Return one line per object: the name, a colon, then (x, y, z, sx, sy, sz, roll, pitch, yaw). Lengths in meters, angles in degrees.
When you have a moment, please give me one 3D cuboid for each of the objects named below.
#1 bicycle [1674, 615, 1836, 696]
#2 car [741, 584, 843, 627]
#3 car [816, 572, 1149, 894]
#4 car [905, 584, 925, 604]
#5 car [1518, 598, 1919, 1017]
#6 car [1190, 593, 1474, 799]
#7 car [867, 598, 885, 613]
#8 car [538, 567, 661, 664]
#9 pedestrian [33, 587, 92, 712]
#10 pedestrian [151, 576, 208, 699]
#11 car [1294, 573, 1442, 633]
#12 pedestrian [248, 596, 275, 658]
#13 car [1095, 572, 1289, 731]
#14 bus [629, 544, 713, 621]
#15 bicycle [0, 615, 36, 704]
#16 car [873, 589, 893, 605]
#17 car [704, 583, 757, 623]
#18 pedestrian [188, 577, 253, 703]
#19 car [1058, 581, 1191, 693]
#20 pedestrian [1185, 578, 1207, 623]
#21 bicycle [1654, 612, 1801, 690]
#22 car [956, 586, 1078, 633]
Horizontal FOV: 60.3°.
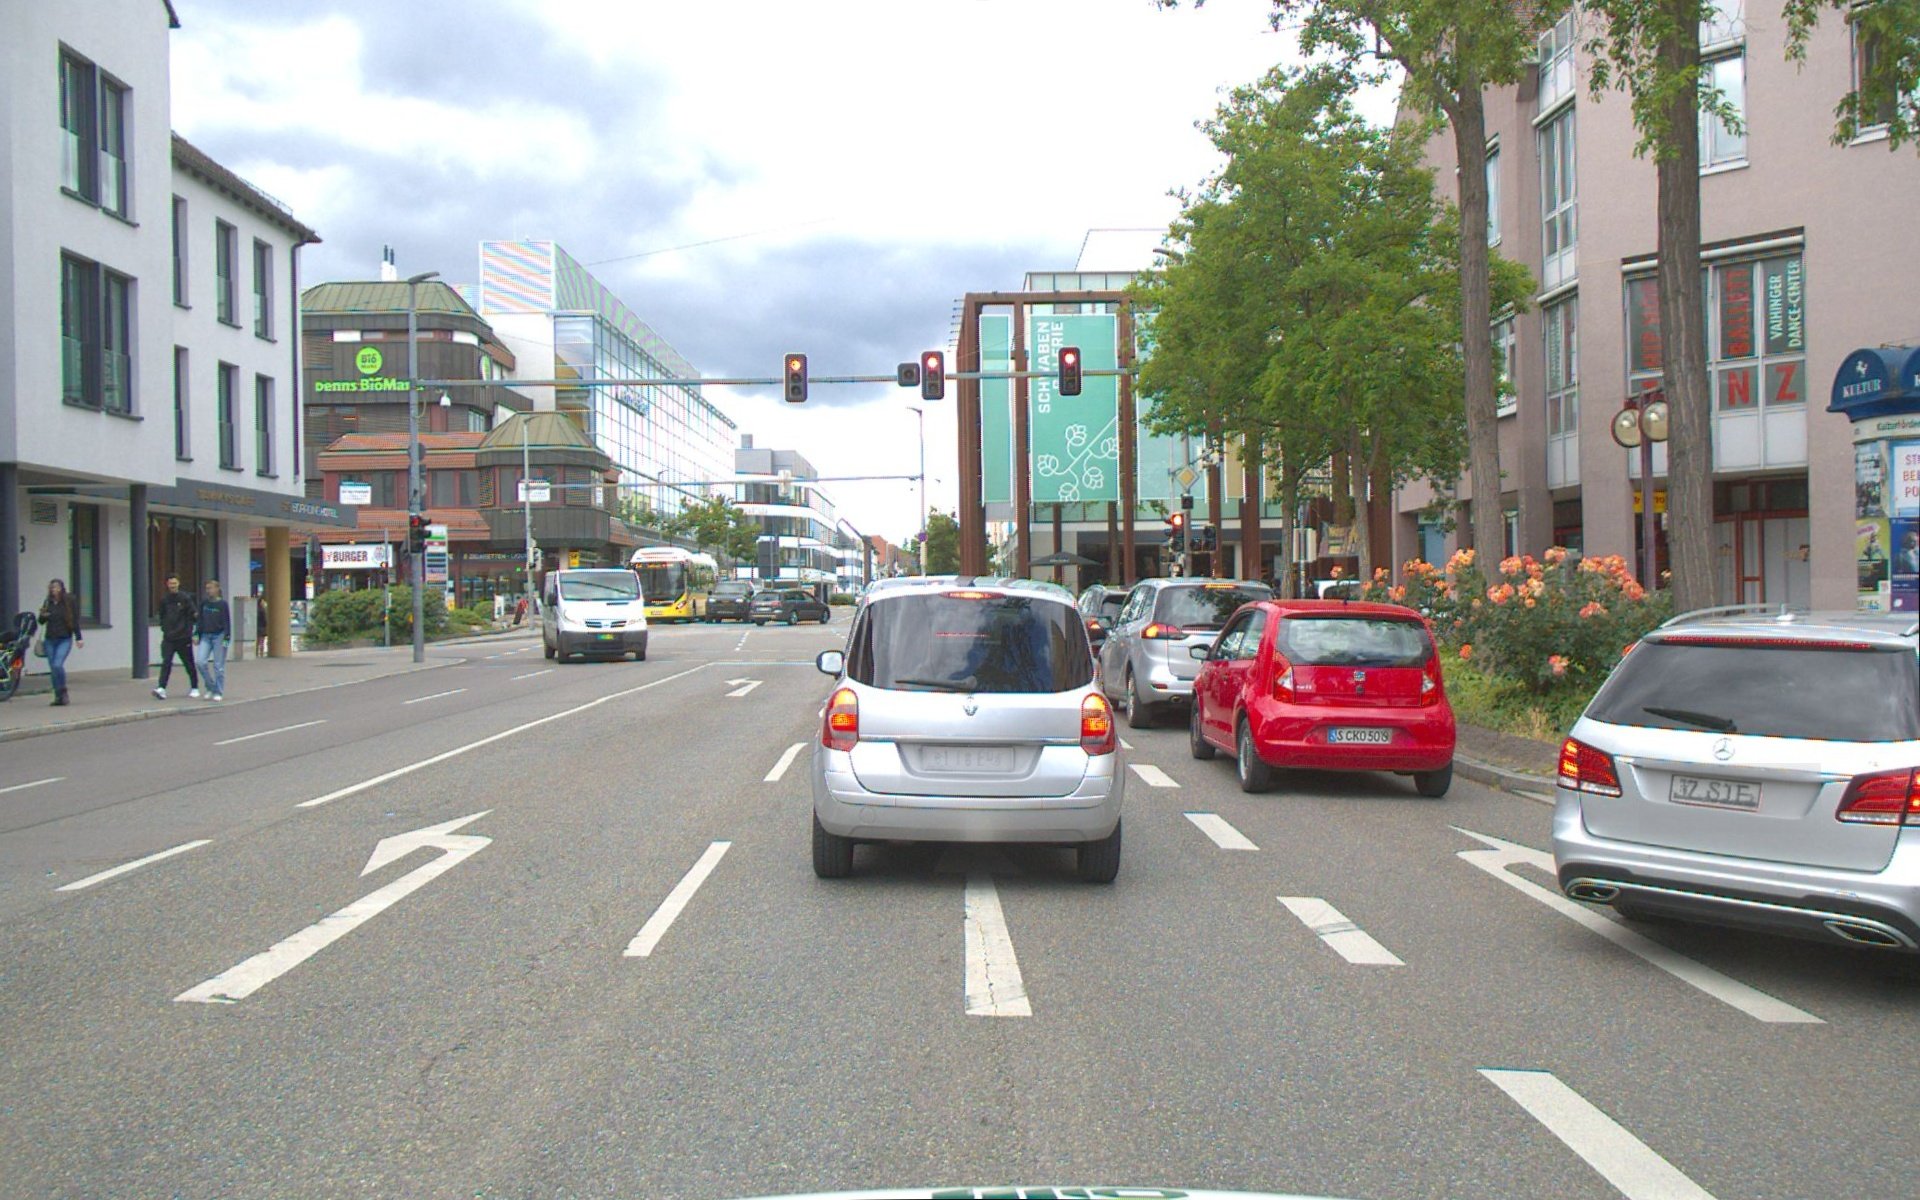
bicycle: (10.333, 0.718, 21.524, 1.861, 1.014, 0.468, -1, 0, 3)
car: (-6.837, 0.205, 67.521, 1.884, 1.706, 4.228, 0, 0, 34)
car: (0.081, 0.636, 9.741, 1.606, 1.554, 3.393, 1, 0, -1)
car: (-4.471, -0.588, 162.650, 1.953, 1.983, 4.949, 0, 0, -2)
car: (4.628, 0.753, 7.985, 4.332, 1.473, 1.793, 0, 1, -42)
car: (2.962, 0.698, 13.817, 1.554, 1.468, 3.348, 1, 0, -1)
car: (-9.472, 0.617, 186.477, 1.764, 1.567, 4.065, 0, 0, 0)
car: (-8.017, 0.313, 36.424, 1.964, 1.921, 5.128, -2, 1, -20)
pedestrian: (-12.302, 0.663, 22.681, 0.643, 1.679, 0.555, -1, 0, -25)
pedestrian: (-11.649, 0.547, 24.705, 0.557, 1.806, 0.646, -1, 0, -5)
car: (12.774, 0.074, 51.880, 4.296, 1.804, 1.327, -1, 0, -1)
pedestrian: (-19.268, 0.728, 45.622, 0.653, 1.678, 0.788, -1, 0, -22)
car: (2.626, 0.534, 19.529, 1.555, 1.662, 3.914, 1, 0, -3)
bus: (-13.243, -0.794, 76.366, 2.633, 3.318, 8.650, 0, 0, -2)
bicycle: (-13.429, 0.831, 22.878, 0.379, 1.207, 1.824, -1, 0, -4)
car: (-7.374, -0.292, 158.622, 1.764, 1.567, 4.065, 0, 0, 0)
car: (-10.190, 0.126, 73.689, 1.953, 1.735, 4.063, 0, 0, -2)
pedestrian: (-10.865, 0.574, 24.319, 0.668, 1.821, 0.648, -1, 0, -4)
car: (2.555, 0.531, 26.427, 1.555, 1.623, 3.866, 1, 0, -3)
pedestrian: (8.862, 0.016, 62.058, 0.641, 1.679, 0.557, -1, 0, -15)
bicycle: (10.227, 0.679, 22.077, 1.731, 1.014, 0.447, -1, 0, 3)
car: (1.752, 0.285, 51.636, 3.752, 1.413, 1.684, -1, 0, -1)
